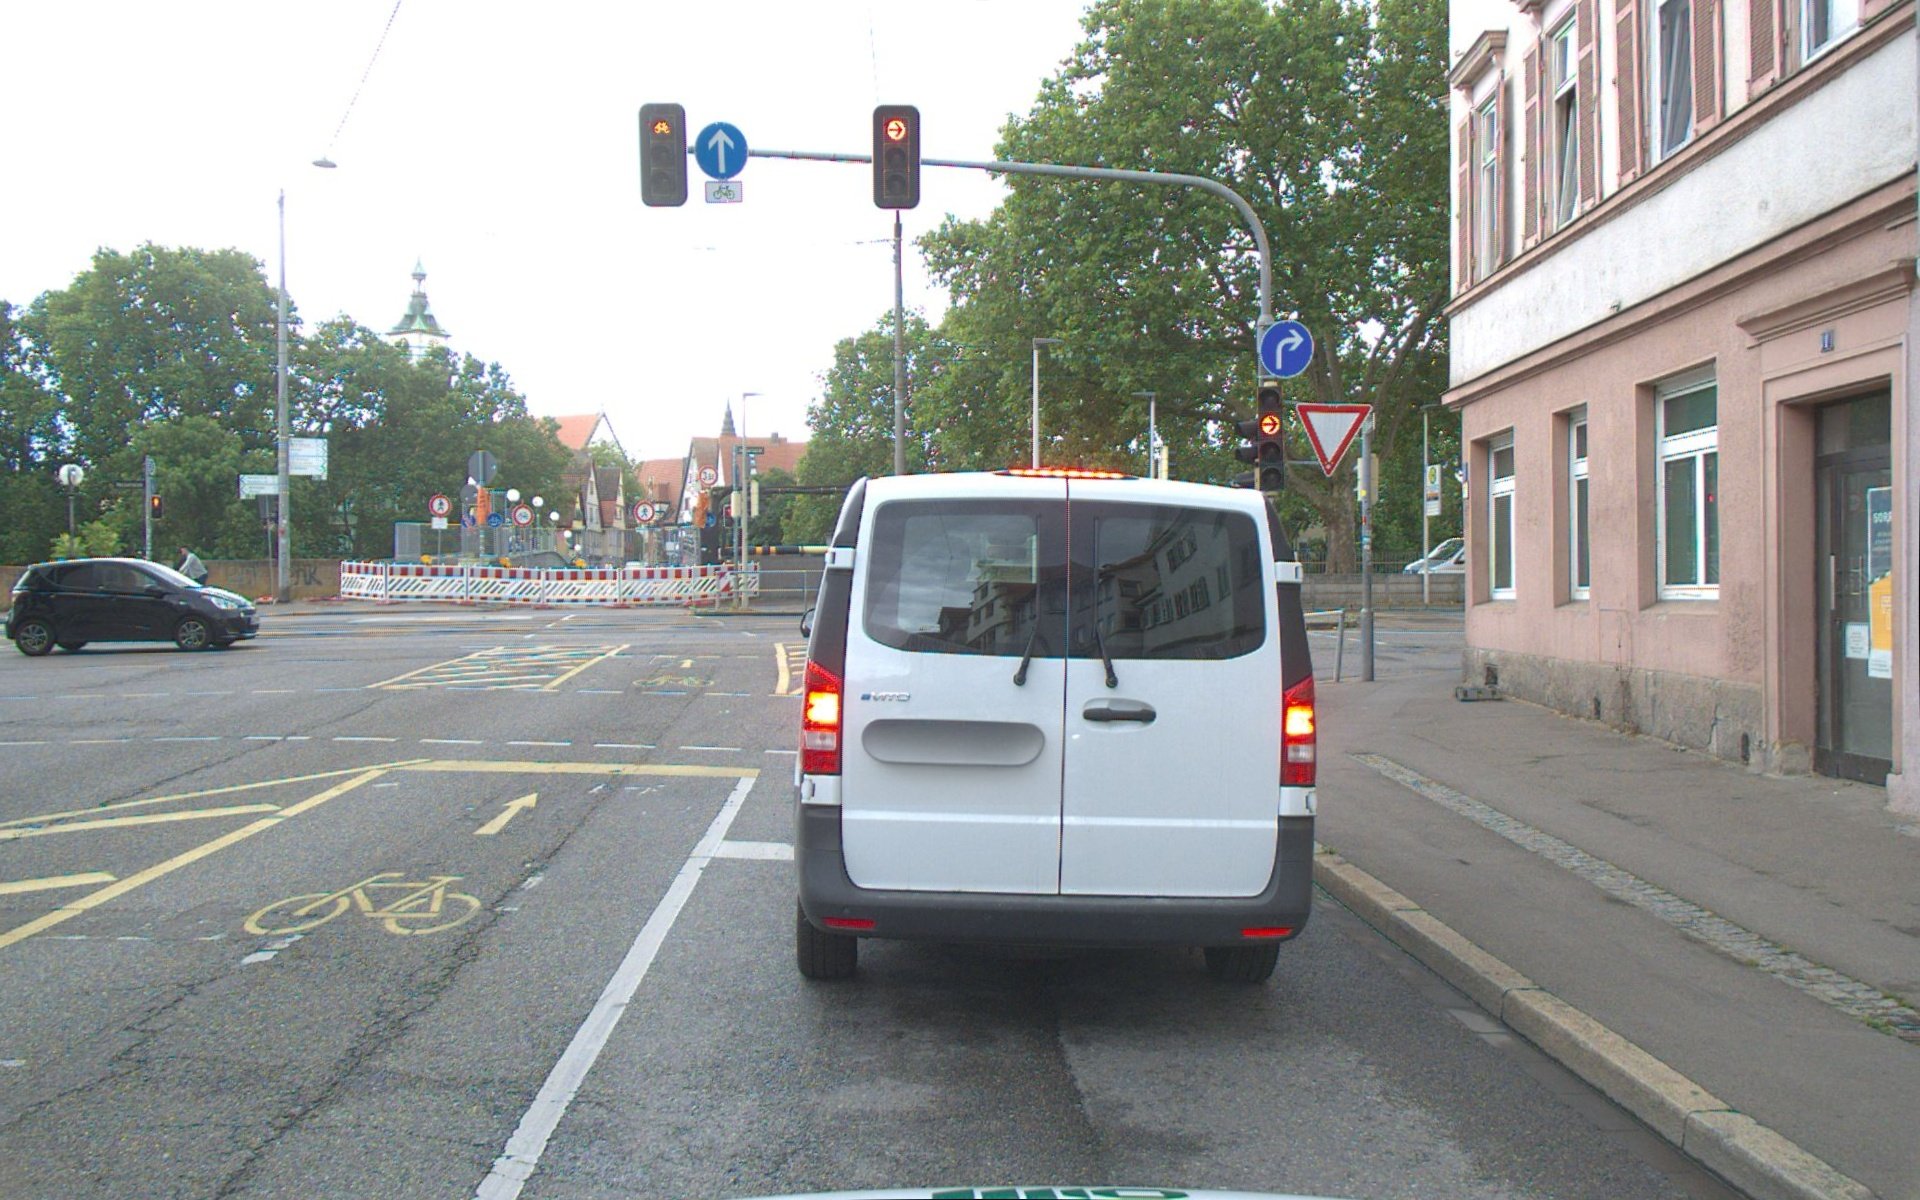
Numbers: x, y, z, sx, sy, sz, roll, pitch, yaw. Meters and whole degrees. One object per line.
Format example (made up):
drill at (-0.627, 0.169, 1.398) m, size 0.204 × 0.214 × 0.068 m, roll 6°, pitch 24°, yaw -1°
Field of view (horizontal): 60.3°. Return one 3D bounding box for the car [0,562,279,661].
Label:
car at (-13.253, 0.145, 26.889) m, size 3.676 × 1.453 × 1.824 m, roll -1°, pitch 2°, yaw -10°

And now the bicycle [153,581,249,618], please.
bicycle at (-19.520, -0.028, 42.573) m, size 2.122 × 0.907 × 0.748 m, roll -2°, pitch 2°, yaw -44°

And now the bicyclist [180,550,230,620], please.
bicyclist at (-19.459, -0.402, 42.623) m, size 0.996 × 1.774 × 0.743 m, roll -1°, pitch 2°, yaw -43°

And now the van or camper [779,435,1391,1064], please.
van or camper at (0.258, 0.403, 7.413) m, size 1.899 × 1.958 × 4.438 m, roll 1°, pitch 2°, yaw -4°

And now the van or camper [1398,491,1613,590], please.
van or camper at (15.165, -1.636, 46.145) m, size 5.283 × 2.558 × 2.035 m, roll -1°, pitch -1°, yaw -3°
